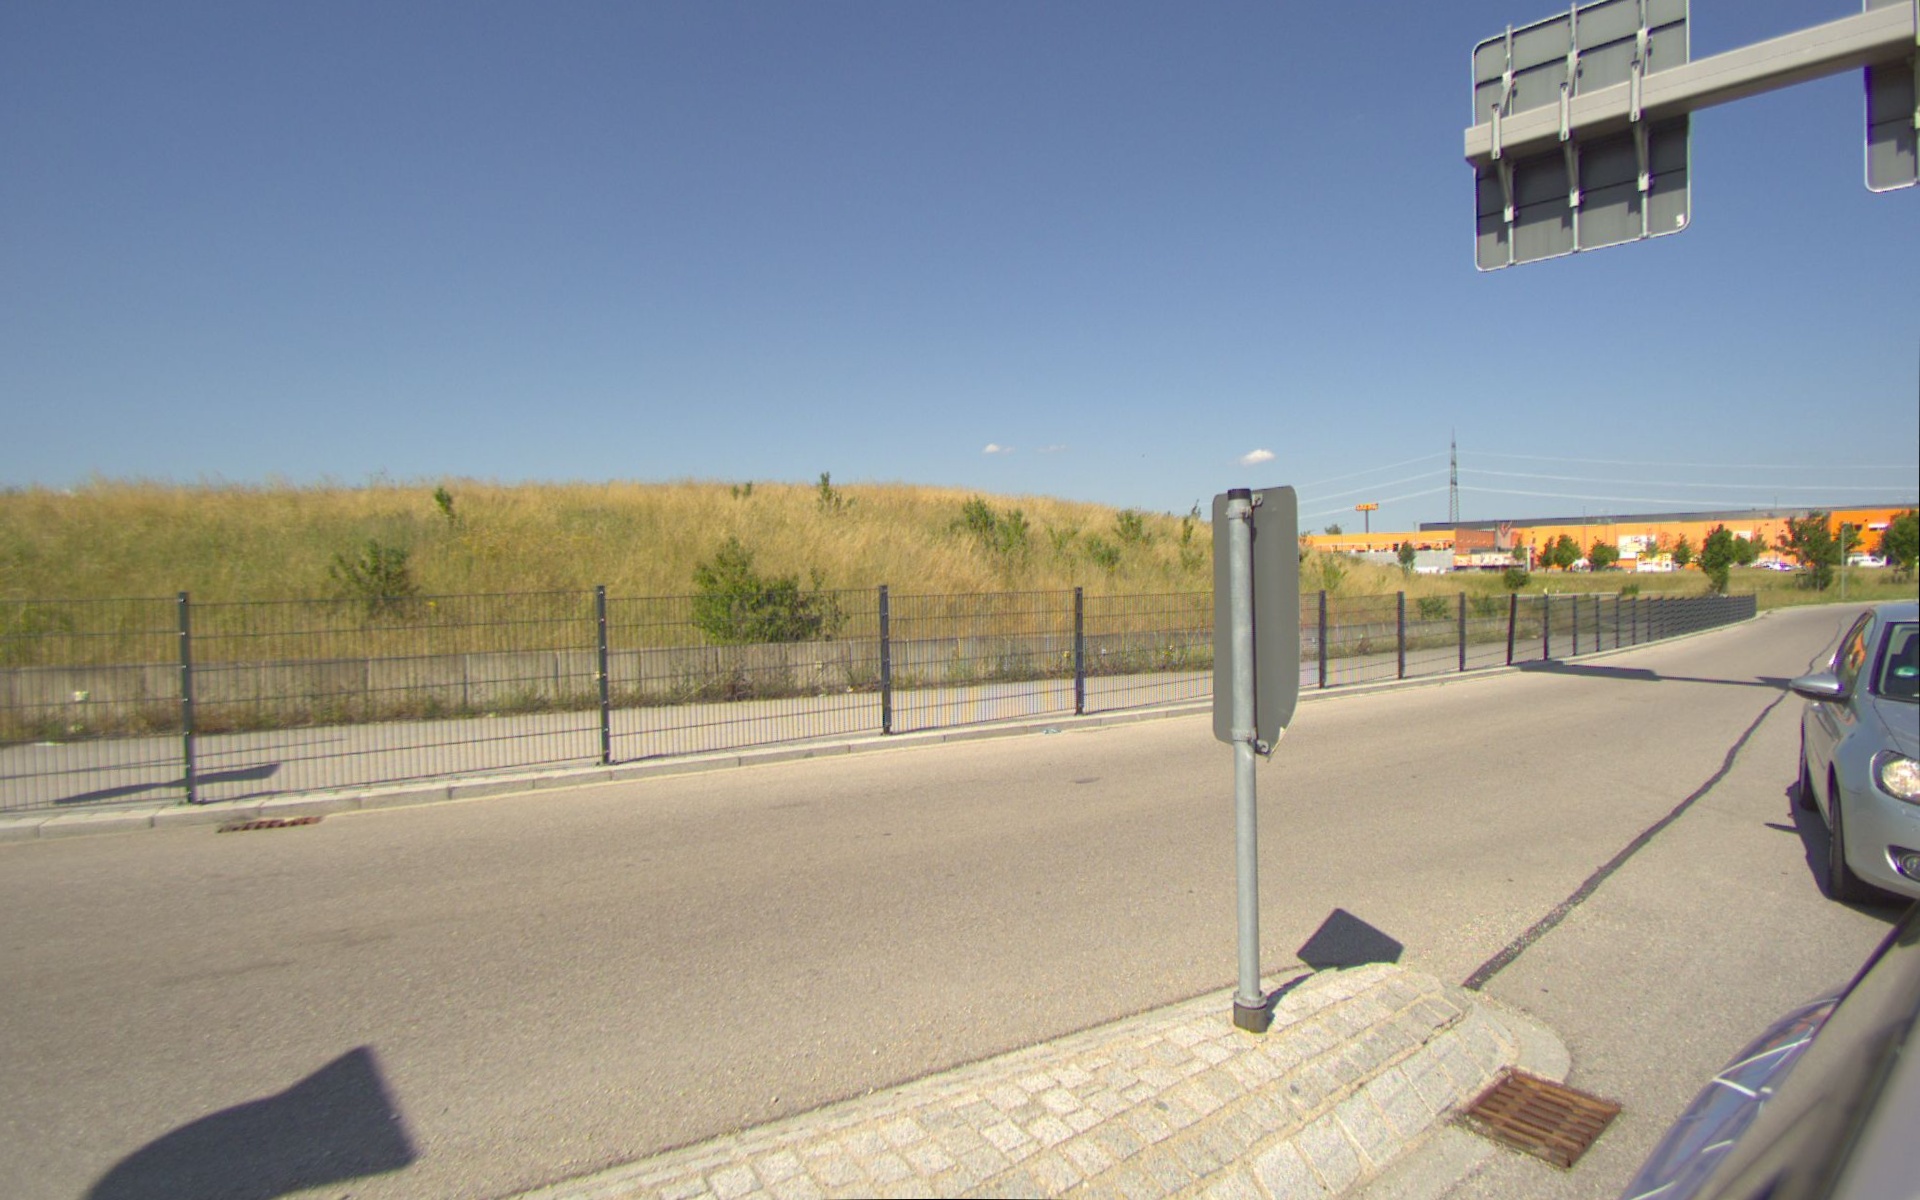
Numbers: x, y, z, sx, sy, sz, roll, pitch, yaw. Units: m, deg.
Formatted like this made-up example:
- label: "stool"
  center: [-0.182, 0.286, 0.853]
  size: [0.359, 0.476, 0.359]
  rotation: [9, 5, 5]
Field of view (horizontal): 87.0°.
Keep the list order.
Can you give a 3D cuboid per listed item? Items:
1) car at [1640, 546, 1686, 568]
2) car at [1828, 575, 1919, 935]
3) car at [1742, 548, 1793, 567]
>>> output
- label: "car"
  center: [87.878, -5.365, 126.579]
  size: [4.611, 2.580, 1.973]
  rotation: [-1, 1, 38]
- label: "car"
  center: [5.704, 0.637, 5.263]
  size: [1.740, 1.486, 3.902]
  rotation: [3, 3, 41]
- label: "car"
  center: [95.603, -5.037, 119.909]
  size: [4.611, 2.039, 1.973]
  rotation: [-1, 1, 38]
